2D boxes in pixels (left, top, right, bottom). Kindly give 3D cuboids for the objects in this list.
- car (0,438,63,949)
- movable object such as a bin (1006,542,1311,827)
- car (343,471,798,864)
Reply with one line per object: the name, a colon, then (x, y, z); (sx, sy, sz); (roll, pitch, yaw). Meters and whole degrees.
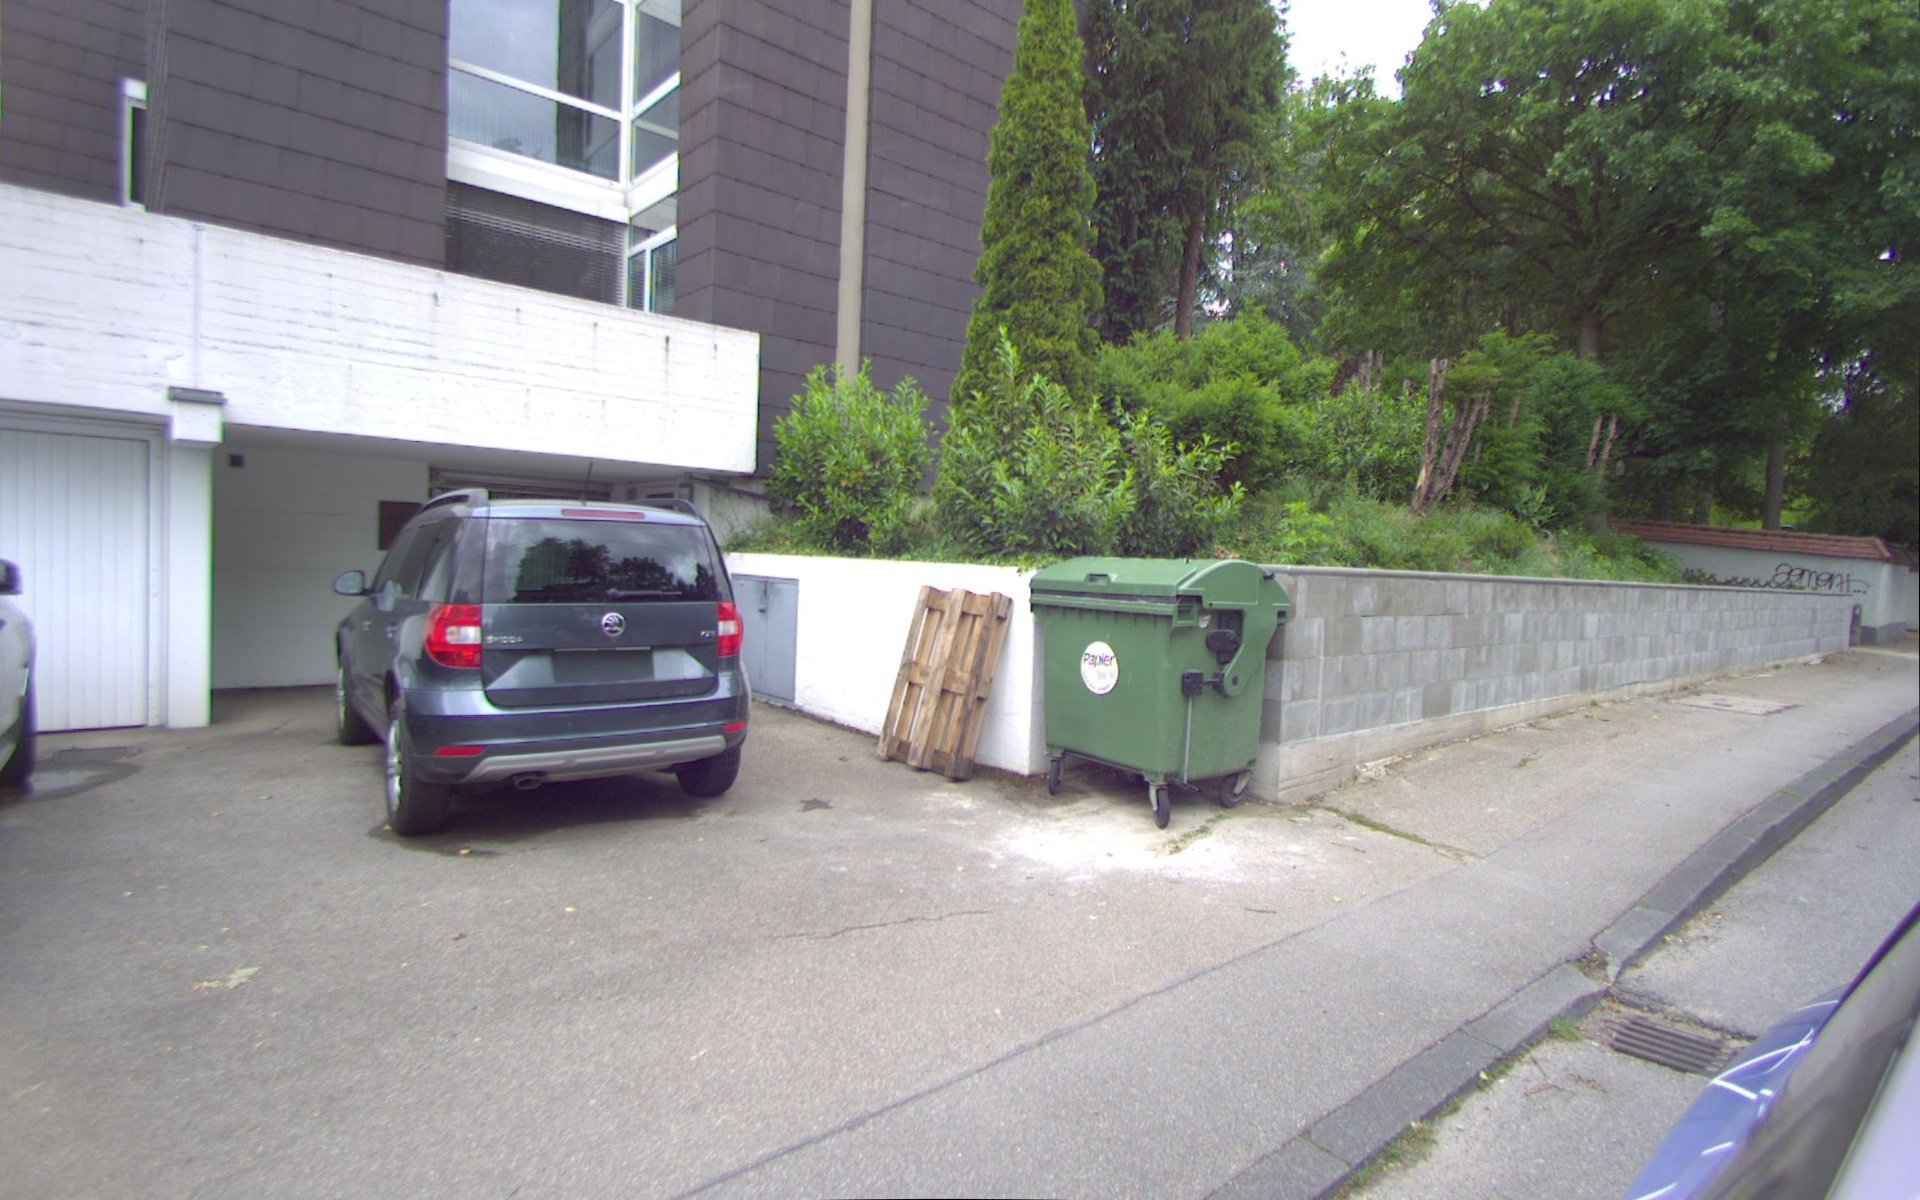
car: (-4.731, 0.234, 3.930); (1.665, 1.695, 4.393); (-1, 4, -39)
movable object such as a bin: (1.163, 0.397, 6.095); (1.096, 1.469, 1.407); (-1, 3, -40)
car: (-2.703, 0.167, 6.380); (1.712, 1.671, 3.914); (-1, 4, -36)
